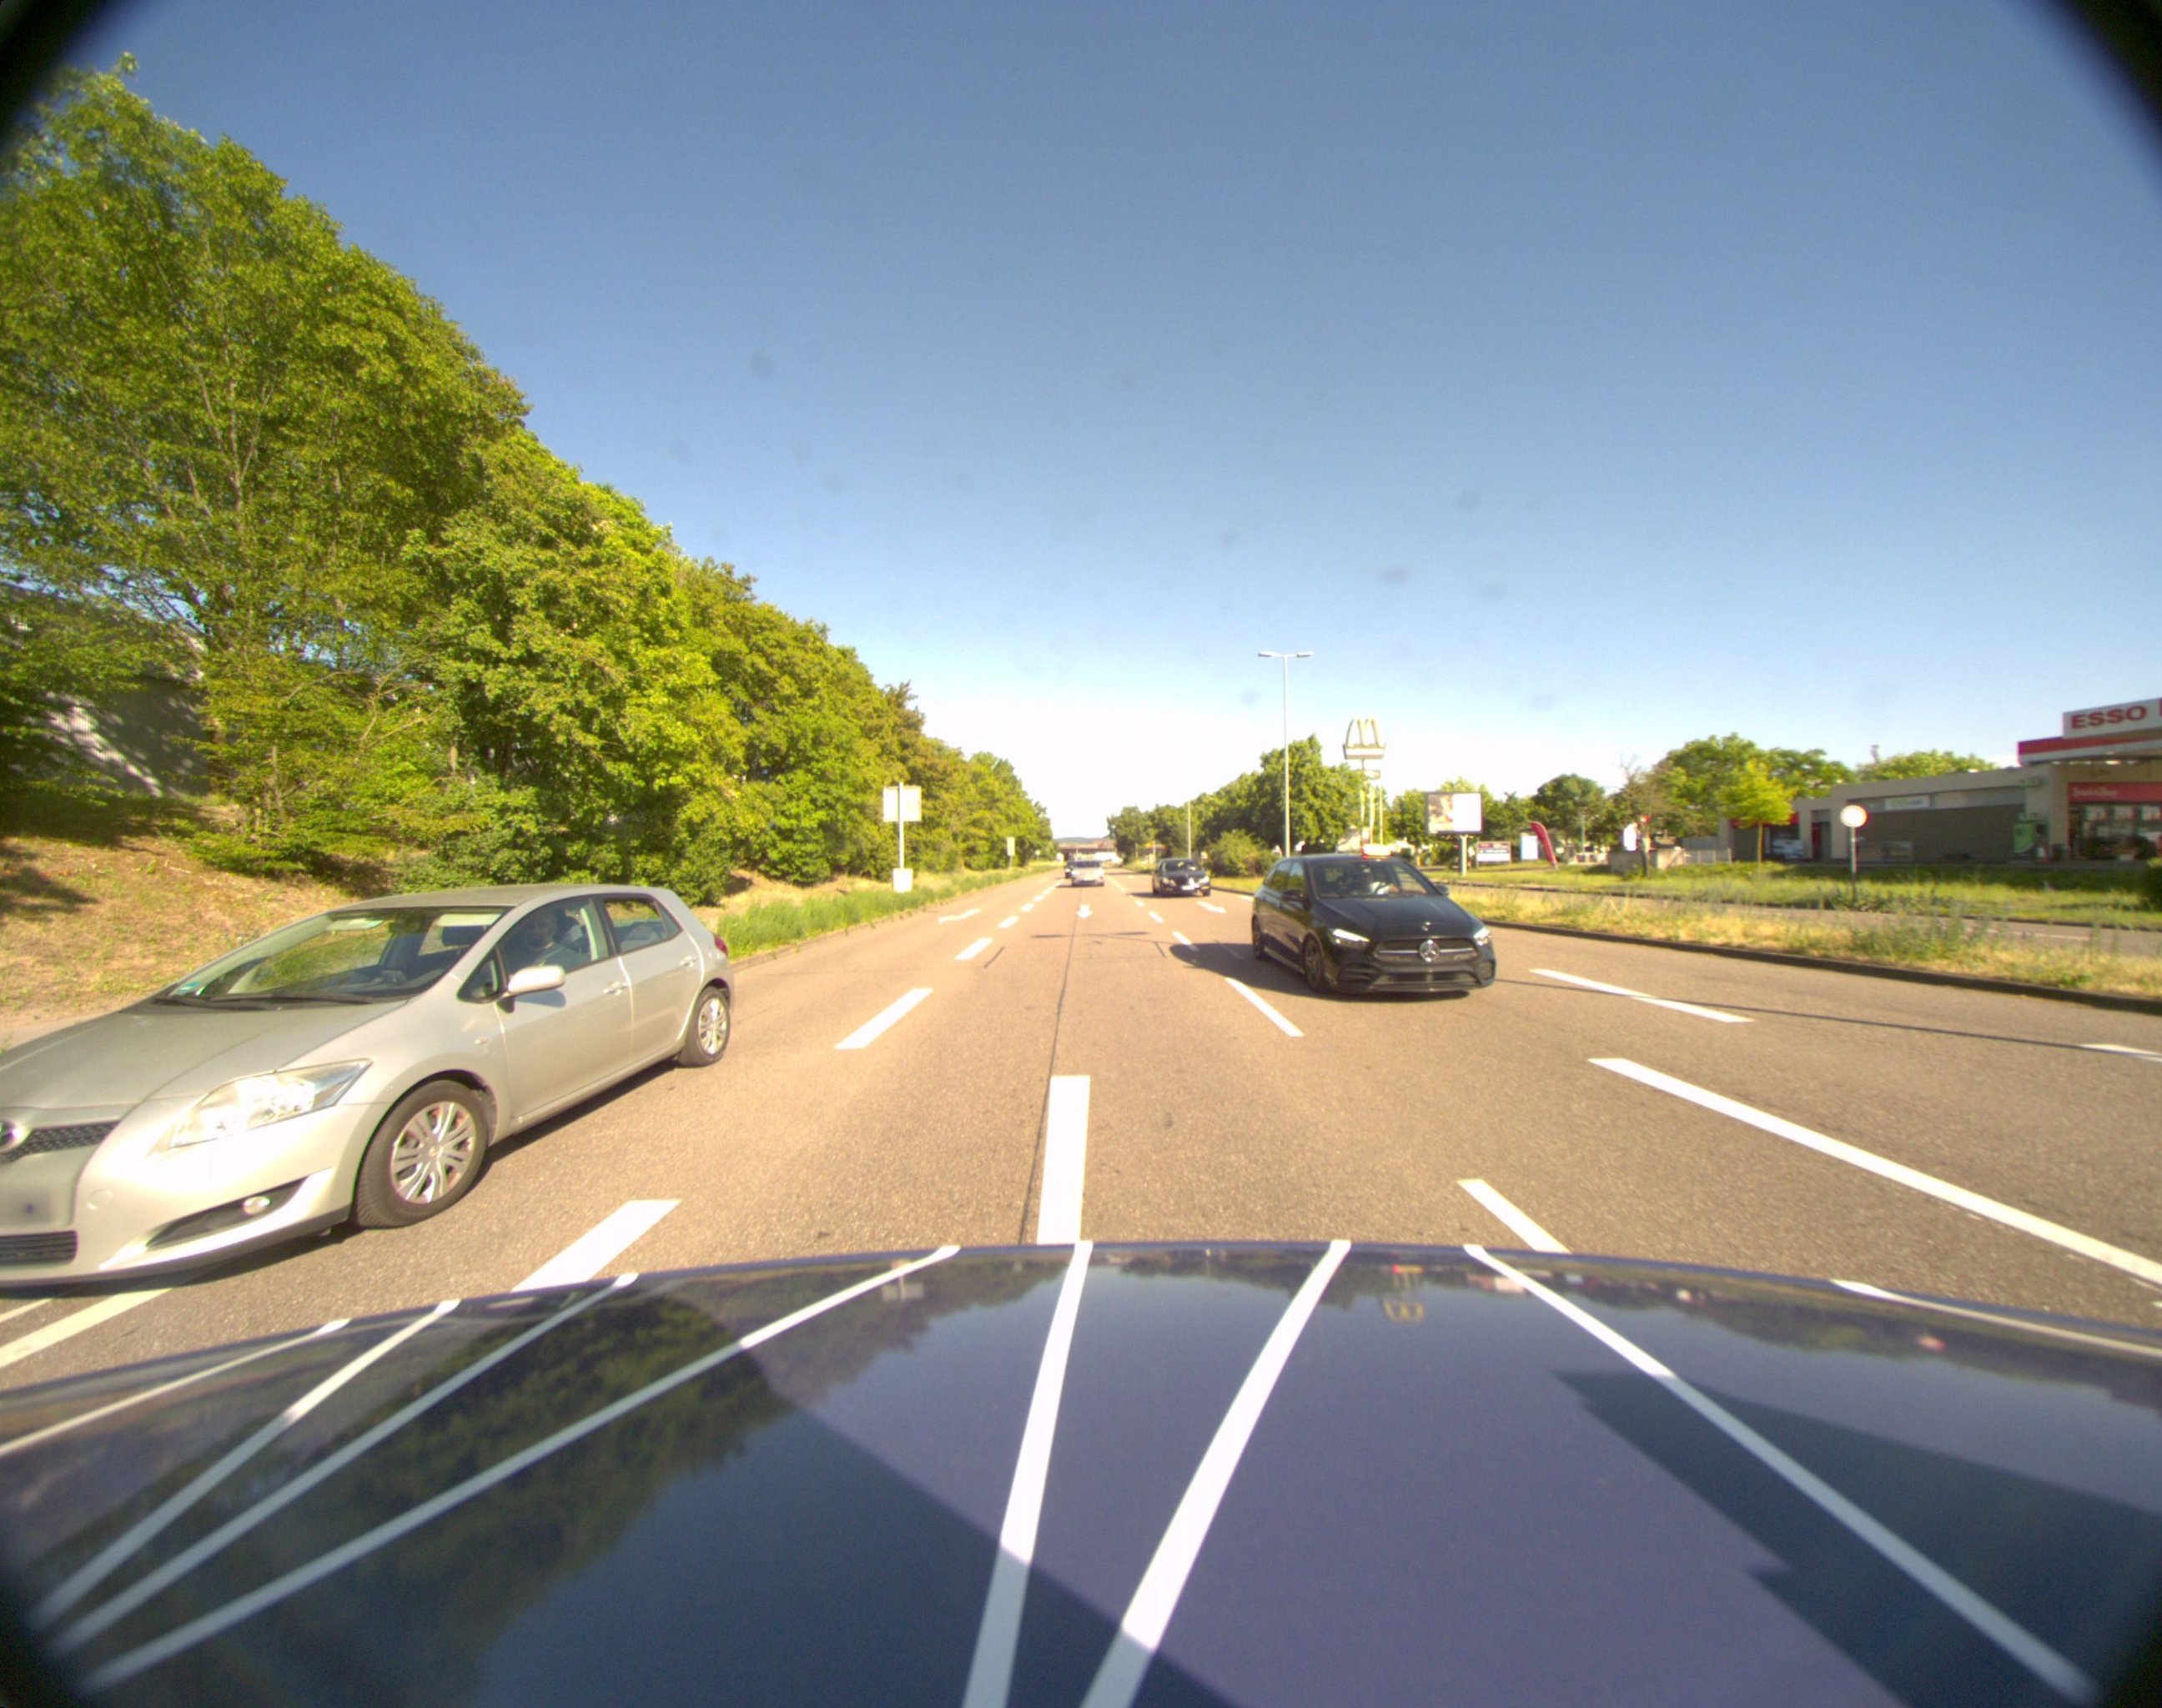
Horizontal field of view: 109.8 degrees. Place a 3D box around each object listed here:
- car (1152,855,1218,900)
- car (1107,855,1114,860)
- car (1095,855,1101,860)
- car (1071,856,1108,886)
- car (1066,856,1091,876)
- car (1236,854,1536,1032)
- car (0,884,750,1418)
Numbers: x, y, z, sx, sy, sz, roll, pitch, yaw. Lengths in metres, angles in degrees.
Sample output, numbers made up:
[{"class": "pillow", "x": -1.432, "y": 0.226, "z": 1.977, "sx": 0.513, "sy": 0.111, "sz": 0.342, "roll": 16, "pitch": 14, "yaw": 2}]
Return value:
[{"class": "car", "x": 3.923, "y": 0.843, "z": 29.470, "sx": 1.953, "sy": 1.501, "sz": 4.462, "roll": -2, "pitch": 1, "yaw": 1}, {"class": "car", "x": 8.282, "y": 0.954, "z": 212.640, "sx": 1.998, "sy": 1.433, "sz": 4.000, "roll": -1, "pitch": 0, "yaw": 1}, {"class": "car", "x": 5.718, "y": 1.198, "z": 252.199, "sx": 1.998, "sy": 1.433, "sz": 4.000, "roll": -1, "pitch": 0, "yaw": 1}, {"class": "car", "x": 0.501, "y": 0.952, "z": 43.965, "sx": 2.025, "sy": 1.601, "sz": 4.098, "roll": -2, "pitch": 0, "yaw": 1}, {"class": "car", "x": -0.198, "y": 1.023, "z": 65.232, "sx": 2.036, "sy": 1.601, "sz": 4.098, "roll": -2, "pitch": 0, "yaw": 1}, {"class": "car", "x": 3.289, "y": 0.828, "z": 9.311, "sx": 1.788, "sy": 1.592, "sz": 4.583, "roll": -2, "pitch": 0, "yaw": 0}, {"class": "car", "x": -3.794, "y": 1.051, "z": 4.471, "sx": 1.788, "sy": 1.528, "sz": 4.108, "roll": -2, "pitch": 0, "yaw": 1}]
